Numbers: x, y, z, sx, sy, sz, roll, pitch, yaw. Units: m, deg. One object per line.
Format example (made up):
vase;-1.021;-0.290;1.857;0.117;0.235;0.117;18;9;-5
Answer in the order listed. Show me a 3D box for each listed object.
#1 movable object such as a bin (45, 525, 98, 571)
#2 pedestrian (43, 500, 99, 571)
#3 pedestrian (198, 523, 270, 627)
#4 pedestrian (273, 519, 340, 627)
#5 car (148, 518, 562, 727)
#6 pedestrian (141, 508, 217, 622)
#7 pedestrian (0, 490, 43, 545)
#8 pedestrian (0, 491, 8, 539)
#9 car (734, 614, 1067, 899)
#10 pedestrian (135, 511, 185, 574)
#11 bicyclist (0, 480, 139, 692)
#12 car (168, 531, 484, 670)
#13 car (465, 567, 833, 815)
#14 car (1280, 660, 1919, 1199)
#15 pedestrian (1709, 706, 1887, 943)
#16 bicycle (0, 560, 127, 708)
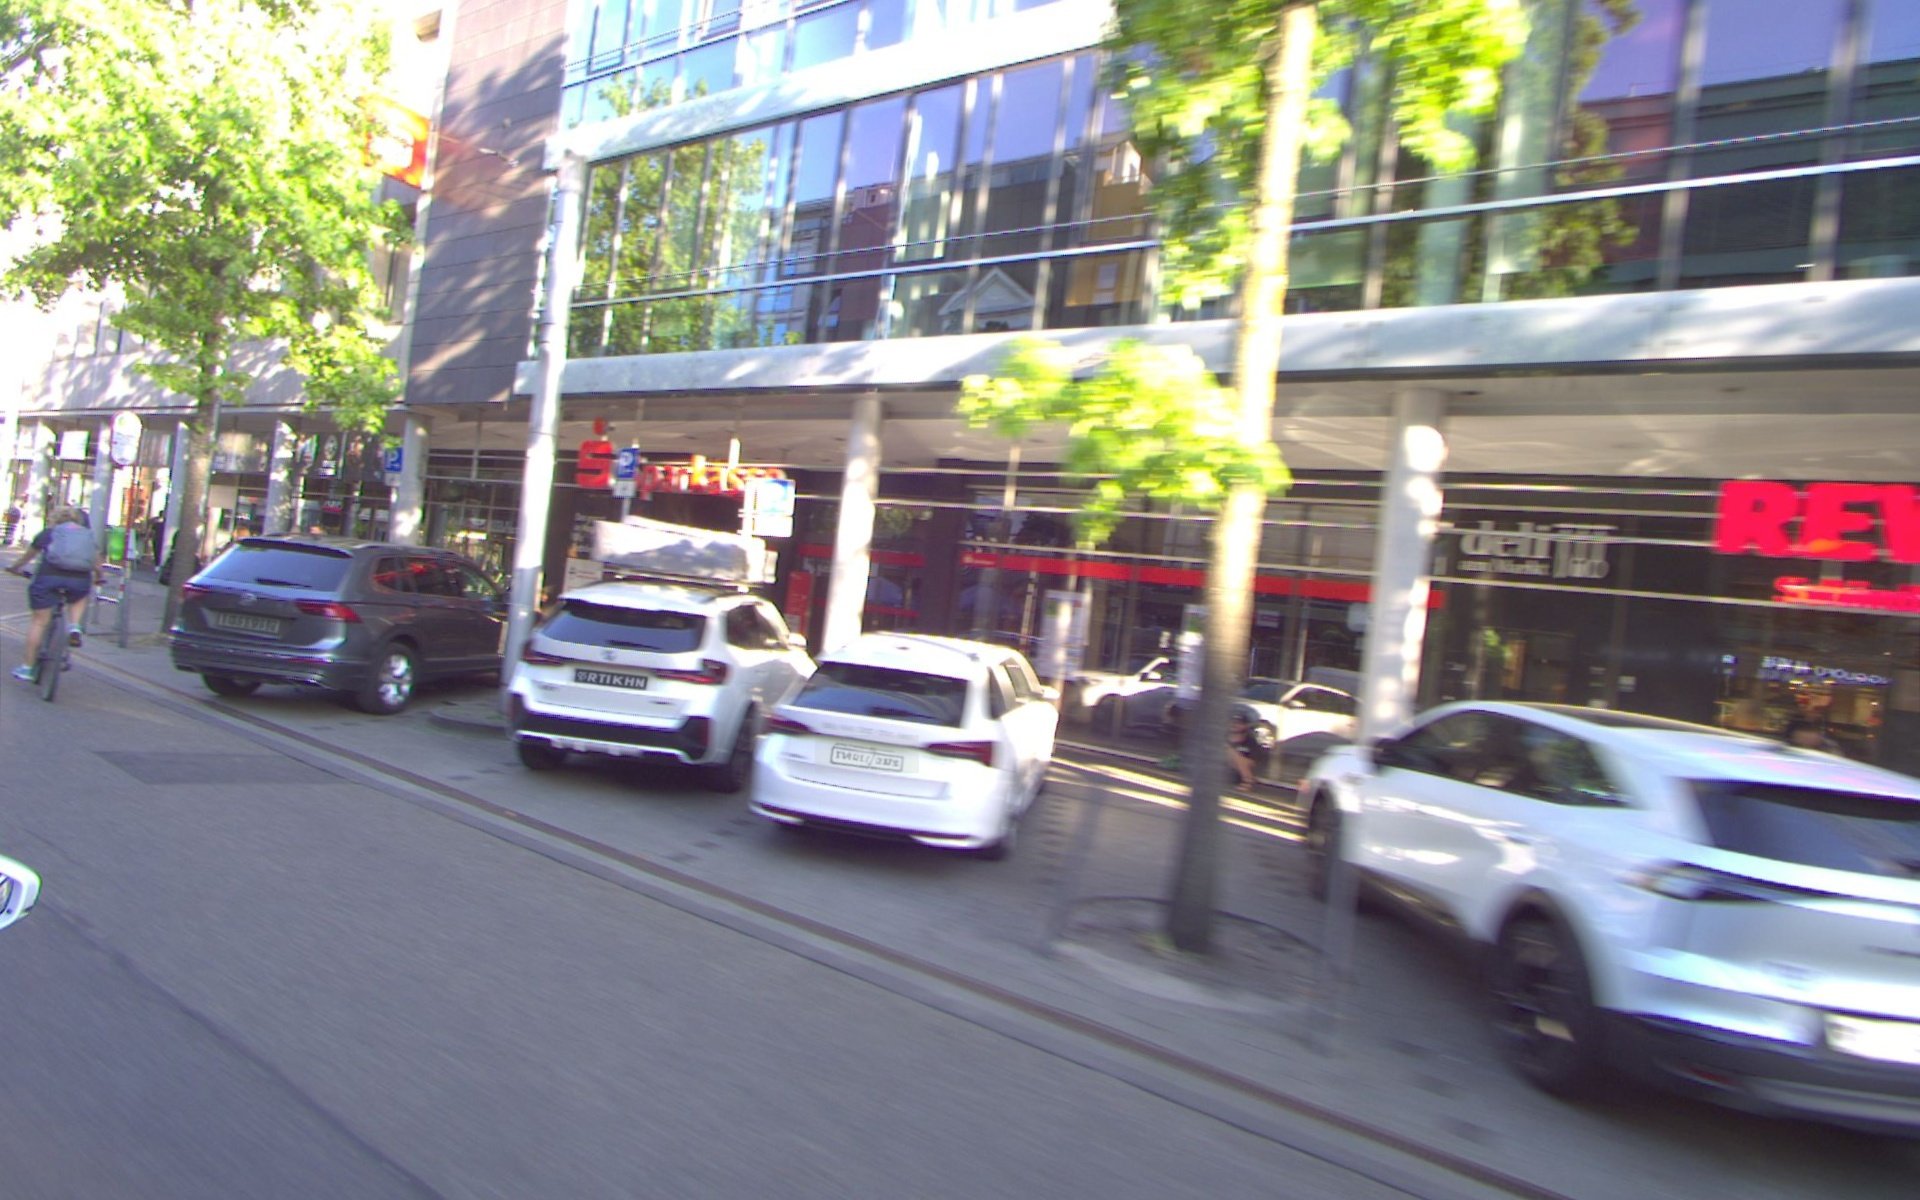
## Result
movable object such as a bin;-21.120;-1.235;23.908;0.706;0.934;0.691;7;-3;34
pedestrian;-21.472;-1.558;24.299;0.622;1.590;0.683;7;-2;34
pedestrian;-11.541;-0.394;16.010;0.598;1.572;0.687;6;1;-13
pedestrian;-11.298;-0.464;17.408;0.678;1.753;0.630;6;1;-15
car;-6.228;0.202;11.082;1.663;1.673;4.356;6;0;2
pedestrian;-12.373;-0.554;15.960;0.672;1.707;0.692;6;1;-23
pedestrian;-31.926;-2.807;34.224;0.844;1.720;0.745;7;-1;34
pedestrian;-36.286;-3.229;37.567;0.822;1.761;0.716;7;-1;34
car;-0.174;0.972;8.179;1.656;1.518;4.161;7;0;10
pedestrian;-22.298;-1.598;28.033;0.911;1.608;0.696;7;-1;34
bicyclist;-7.683;-0.122;8.544;0.900;1.630;0.777;7;-3;42
car;-8.478;0.035;13.808;1.635;1.500;3.399;7;0;14
car;-2.555;0.667;9.484;1.849;1.607;4.248;6;0;2
car;3.391;1.359;5.502;1.820;1.591;4.158;7;0;0
pedestrian;6.658;1.730;8.049;0.868;1.644;0.714;7;1;35
bicycle;-7.908;0.256;8.685;2.031;1.006;0.718;6;-3;43
